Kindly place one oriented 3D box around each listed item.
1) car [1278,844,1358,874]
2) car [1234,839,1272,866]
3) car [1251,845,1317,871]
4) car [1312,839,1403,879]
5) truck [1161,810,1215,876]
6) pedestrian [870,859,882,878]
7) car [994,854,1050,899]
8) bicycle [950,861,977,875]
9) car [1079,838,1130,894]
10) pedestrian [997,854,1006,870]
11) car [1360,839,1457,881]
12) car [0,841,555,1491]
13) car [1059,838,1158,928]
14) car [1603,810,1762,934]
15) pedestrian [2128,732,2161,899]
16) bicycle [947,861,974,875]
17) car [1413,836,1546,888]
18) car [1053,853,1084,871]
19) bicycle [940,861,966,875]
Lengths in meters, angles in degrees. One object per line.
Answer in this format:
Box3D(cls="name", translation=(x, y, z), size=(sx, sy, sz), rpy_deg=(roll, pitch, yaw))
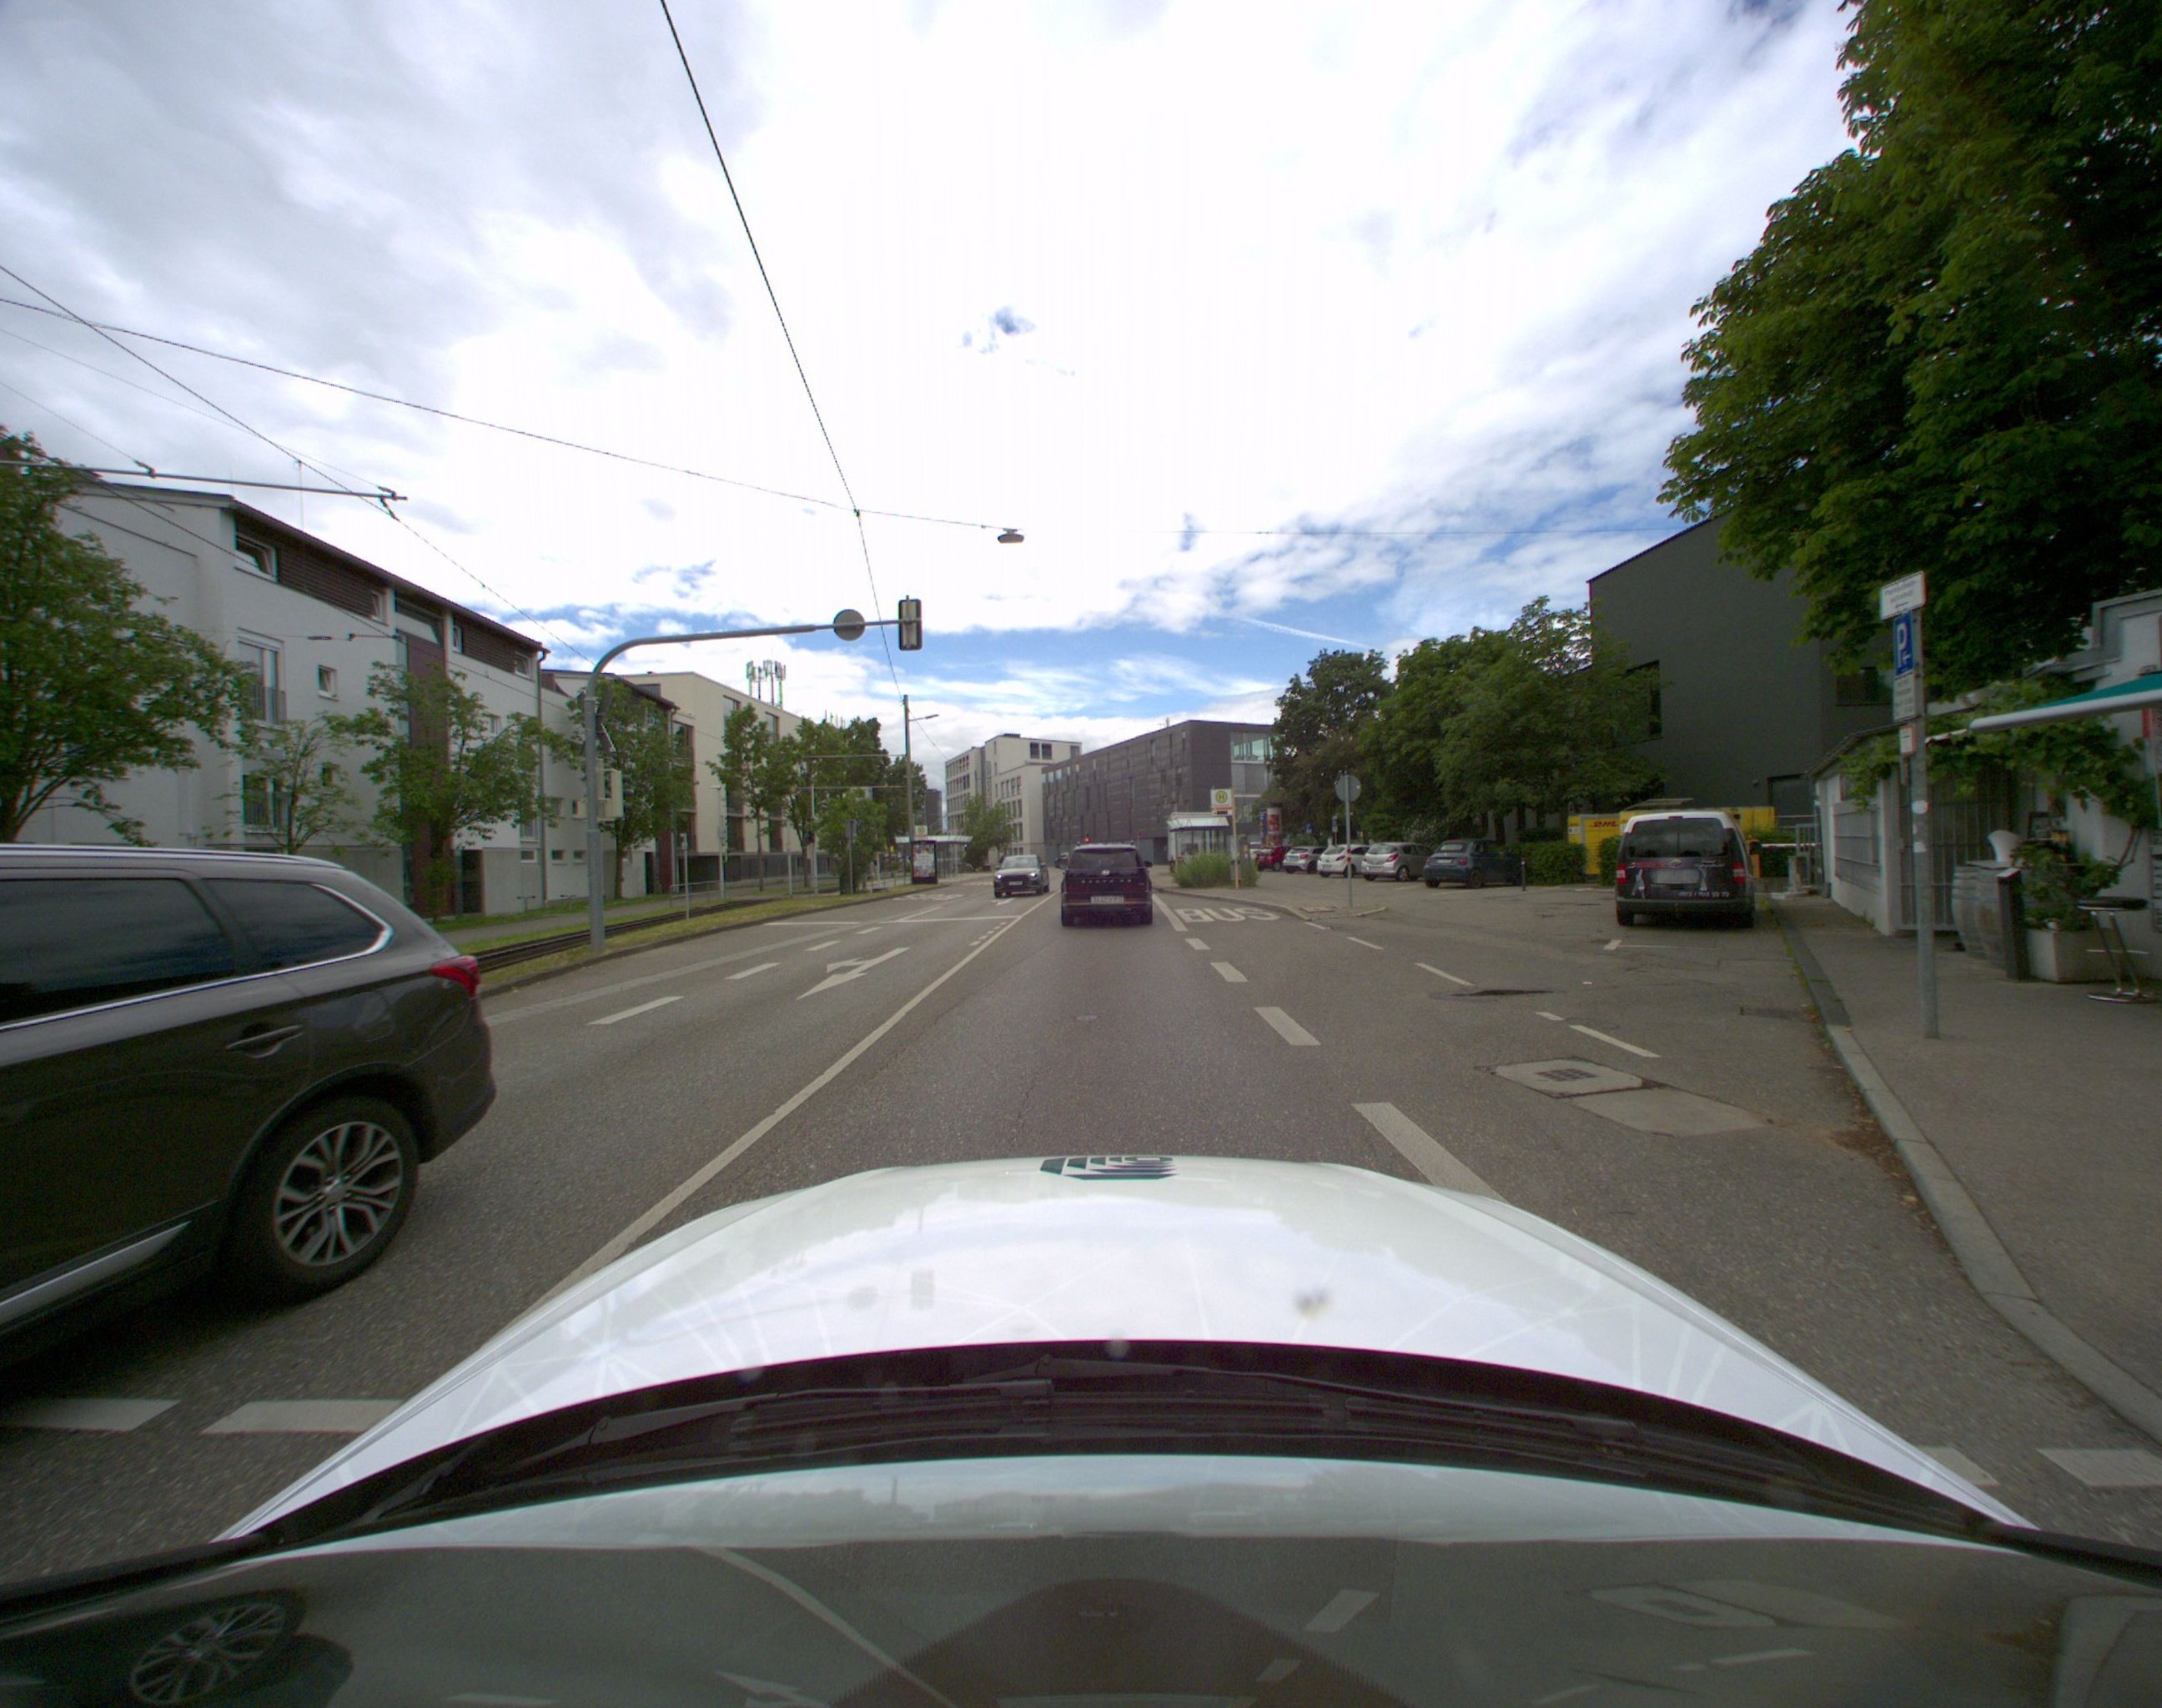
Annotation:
Box3D(cls="car", translation=(12.199, 0.288, 41.956), size=(3.813, 1.474, 1.782), rpy_deg=(0, -1, -28))
Box3D(cls="car", translation=(12.964, -0.104, 61.649), size=(1.986, 1.838, 4.520), rpy_deg=(-4, -1, 2))
Box3D(cls="car", translation=(11.787, 0.254, 47.255), size=(3.510, 1.455, 1.666), rpy_deg=(-1, -1, -26))
Box3D(cls="car", translation=(12.224, 0.218, 35.973), size=(3.657, 1.435, 1.578), rpy_deg=(-4, -1, -25))
Box3D(cls="truck", translation=(6.231, -0.634, 48.518), size=(2.562, 3.525, 7.818), rpy_deg=(-2, 0, 4))
Box3D(cls="pedestrian", translation=(-19.857, 1.408, 78.851), size=(0.916, 1.719, 0.906), rpy_deg=(-2, 0, 1))
Box3D(cls="car", translation=(-2.254, 0.845, 32.222), size=(1.733, 1.559, 4.185), rpy_deg=(-3, 0, 1))
Box3D(cls="bicycle", translation=(-9.918, 1.161, 68.697), size=(2.090, 1.106, 0.632), rpy_deg=(-1, 0, 3))
Box3D(cls="car", translation=(0.935, 0.452, 33.040), size=(1.849, 2.033, 4.438), rpy_deg=(-2, 0, 1))
Box3D(cls="pedestrian", translation=(-9.034, 0.953, 92.723), size=(0.938, 1.800, 0.589), rpy_deg=(-2, 0, -10))
Box3D(cls="car", translation=(12.458, 0.206, 30.933), size=(3.527, 1.378, 1.533), rpy_deg=(-3, 2, -29))
Box3D(cls="car", translation=(-3.681, 0.789, 1.936), size=(1.823, 1.670, 4.489), rpy_deg=(1, 0, 1))
Box3D(cls="car", translation=(0.531, 0.559, 17.926), size=(1.909, 1.725, 4.169), rpy_deg=(-1, 0, 0))
Box3D(cls="car", translation=(10.285, 0.198, 13.805), size=(1.827, 1.748, 4.725), rpy_deg=(-2, 0, 39))
Box3D(cls="pedestrian", translation=(11.706, -0.422, 8.479), size=(0.680, 1.759, 0.679), rpy_deg=(-3, 2, 8))
Box3D(cls="bicycle", translation=(-10.065, 1.152, 67.979), size=(2.090, 1.106, 0.632), rpy_deg=(-1, 0, 3))
Box3D(cls="car", translation=(12.696, 0.236, 25.900), size=(4.012, 1.477, 1.862), rpy_deg=(-2, 0, -30))
Box3D(cls="car", translation=(-1.370, 0.885, 88.304), size=(1.855, 1.677, 4.343), rpy_deg=(-3, 0, -21))
Box3D(cls="bicycle", translation=(-10.314, 1.123, 65.754), size=(1.920, 1.106, 0.588), rpy_deg=(-1, 0, 3))
